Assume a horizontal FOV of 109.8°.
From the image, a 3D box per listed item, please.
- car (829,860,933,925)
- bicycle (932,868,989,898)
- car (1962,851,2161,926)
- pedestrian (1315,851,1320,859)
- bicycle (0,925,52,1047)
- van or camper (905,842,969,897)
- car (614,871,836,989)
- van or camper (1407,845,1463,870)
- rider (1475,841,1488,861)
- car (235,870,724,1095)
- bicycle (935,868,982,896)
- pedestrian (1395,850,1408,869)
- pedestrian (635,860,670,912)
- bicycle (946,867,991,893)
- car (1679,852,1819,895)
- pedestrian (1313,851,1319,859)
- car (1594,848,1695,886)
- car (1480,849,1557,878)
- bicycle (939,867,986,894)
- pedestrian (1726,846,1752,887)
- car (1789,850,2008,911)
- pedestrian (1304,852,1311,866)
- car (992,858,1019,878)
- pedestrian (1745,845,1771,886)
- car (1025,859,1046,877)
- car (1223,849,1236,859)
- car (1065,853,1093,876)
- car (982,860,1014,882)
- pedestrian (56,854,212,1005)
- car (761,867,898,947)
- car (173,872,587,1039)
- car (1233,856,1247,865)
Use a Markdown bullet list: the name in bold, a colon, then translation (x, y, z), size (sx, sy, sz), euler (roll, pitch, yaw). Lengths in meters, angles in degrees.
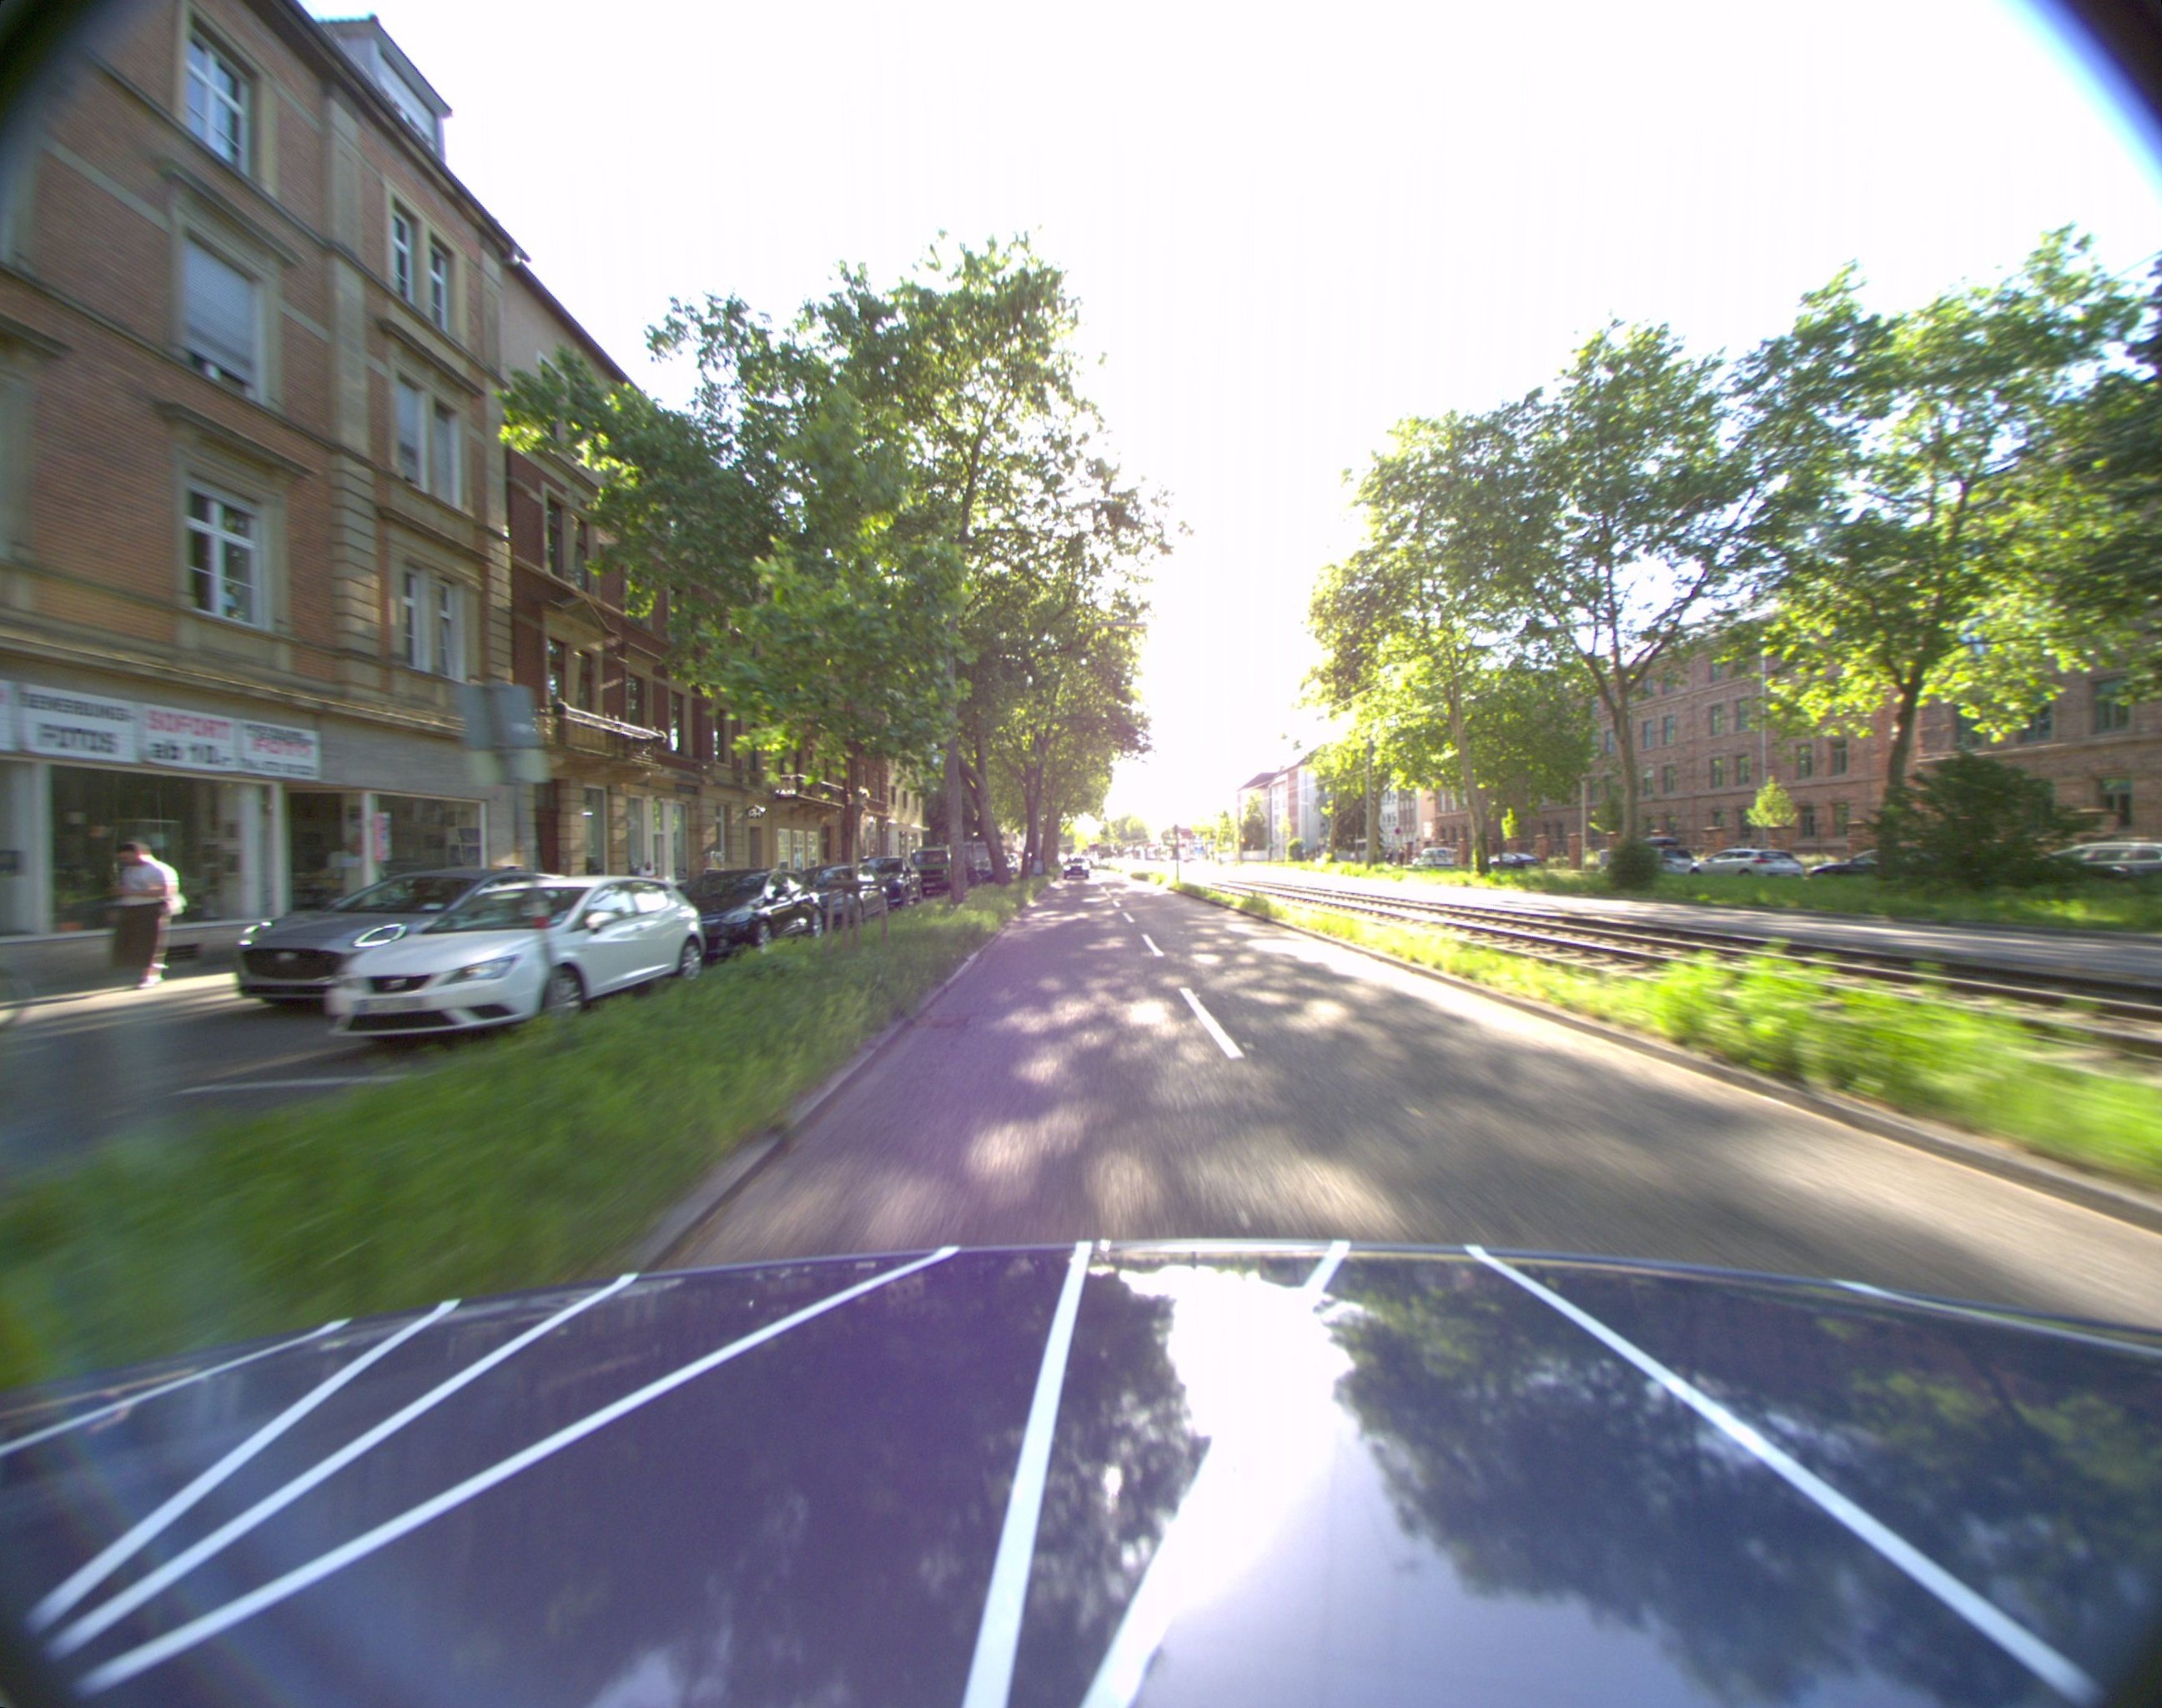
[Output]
- **car**: translation (-5.855, 1.054, 22.860), size (1.896, 1.637, 4.799), euler (-3, 0, -2)
- **bicycle**: translation (-5.623, 1.360, 35.692), size (2.557, 1.286, 0.974), euler (-2, 0, -7)
- **car**: translation (26.874, 0.840, 19.851), size (2.114, 1.798, 4.737), euler (-1, 0, -2)
- **pedestrian**: translation (30.921, 0.159, 99.515), size (0.445, 1.093, 0.587), euler (-1, 0, -5)
- **bicycle**: translation (-10.557, 1.264, 6.577), size (0.671, 1.120, 1.899), euler (-1, 0, 1)
- **van or camper**: translation (-6.043, 0.609, 32.375), size (1.838, 2.085, 4.773), euler (-3, 0, -2)
- **car**: translation (-5.747, 1.138, 12.927), size (1.758, 1.488, 4.184), euler (-3, 0, -1)
- **van or camper**: translation (26.520, 0.275, 57.089), size (1.999, 1.777, 4.431), euler (0, 0, -2)
- **rider**: translation (33.271, -0.238, 63.185), size (0.730, 1.635, 0.686), euler (0, 0, 0)
- **car**: translation (-5.643, 1.037, 7.984), size (1.758, 1.563, 4.184), euler (-3, 0, -1)
- **bicycle**: translation (-5.982, 1.348, 37.066), size (2.171, 1.286, 0.982), euler (-2, 0, -11)
- **pedestrian**: translation (32.742, 0.554, 77.678), size (0.903, 1.888, 0.942), euler (-1, 0, 1)
- **pedestrian**: translation (-12.973, 0.967, 23.004), size (0.649, 1.537, 0.693), euler (-1, 1, -2)
- **bicycle**: translation (-5.834, 1.331, 39.503), size (2.169, 1.286, 0.983), euler (-2, 0, 2)
- **car**: translation (26.906, 0.737, 30.844), size (1.998, 1.606, 4.422), euler (-1, 0, 4)
- **pedestrian**: translation (30.911, 0.154, 100.081), size (0.587, 1.093, 0.478), euler (-1, 1, -2)
- **car**: translation (26.799, 0.603, 36.336), size (1.772, 1.709, 4.422), euler (-1, 0, 4)
- **car**: translation (26.733, 0.592, 46.645), size (1.998, 1.639, 4.827), euler (-1, -1, 0)
- **bicycle**: translation (-5.985, 1.337, 38.353), size (2.169, 1.286, 0.983), euler (-2, 0, 0)
- **pedestrian**: translation (32.437, 0.605, 37.475), size (0.716, 2.002, 0.626), euler (0, 0, 0)
- **car**: translation (26.845, 0.818, 25.268), size (2.114, 1.798, 4.738), euler (-1, 0, -1)
- **pedestrian**: translation (32.560, 0.785, 109.185), size (0.664, 2.002, 0.860), euler (-1, 0, -1)
- **car**: translation (-5.996, 1.123, 60.550), size (1.699, 1.521, 4.262), euler (-1, -1, 0)
- **pedestrian**: translation (33.358, 0.554, 37.446), size (0.716, 2.002, 0.626), euler (0, 0, 0)
- **car**: translation (-4.320, 1.304, 71.956), size (1.908, 1.626, 4.823), euler (-1, 0, -3)
- **car**: translation (26.203, -0.002, 134.161), size (1.769, 1.613, 4.477), euler (-1, 0, 6)
- **car**: translation (-0.139, 0.789, 57.997), size (1.979, 1.660, 4.620), euler (-2, 0, 1)
- **car**: translation (-5.921, 1.232, 54.622), size (1.699, 1.498, 4.583), euler (-1, -1, 1)
- **pedestrian**: translation (-11.734, 0.893, 9.456), size (0.693, 1.777, 0.958), euler (-1, 1, 0)
- **car**: translation (-5.650, 1.123, 17.673), size (1.741, 1.455, 4.364), euler (-3, 0, -1)
- **car**: translation (-8.379, 1.062, 9.726), size (1.759, 1.569, 4.182), euler (0, 0, -7)
- **car**: translation (29.245, 1.235, 139.843), size (1.998, 1.697, 4.150), euler (-1, 0, 3)
